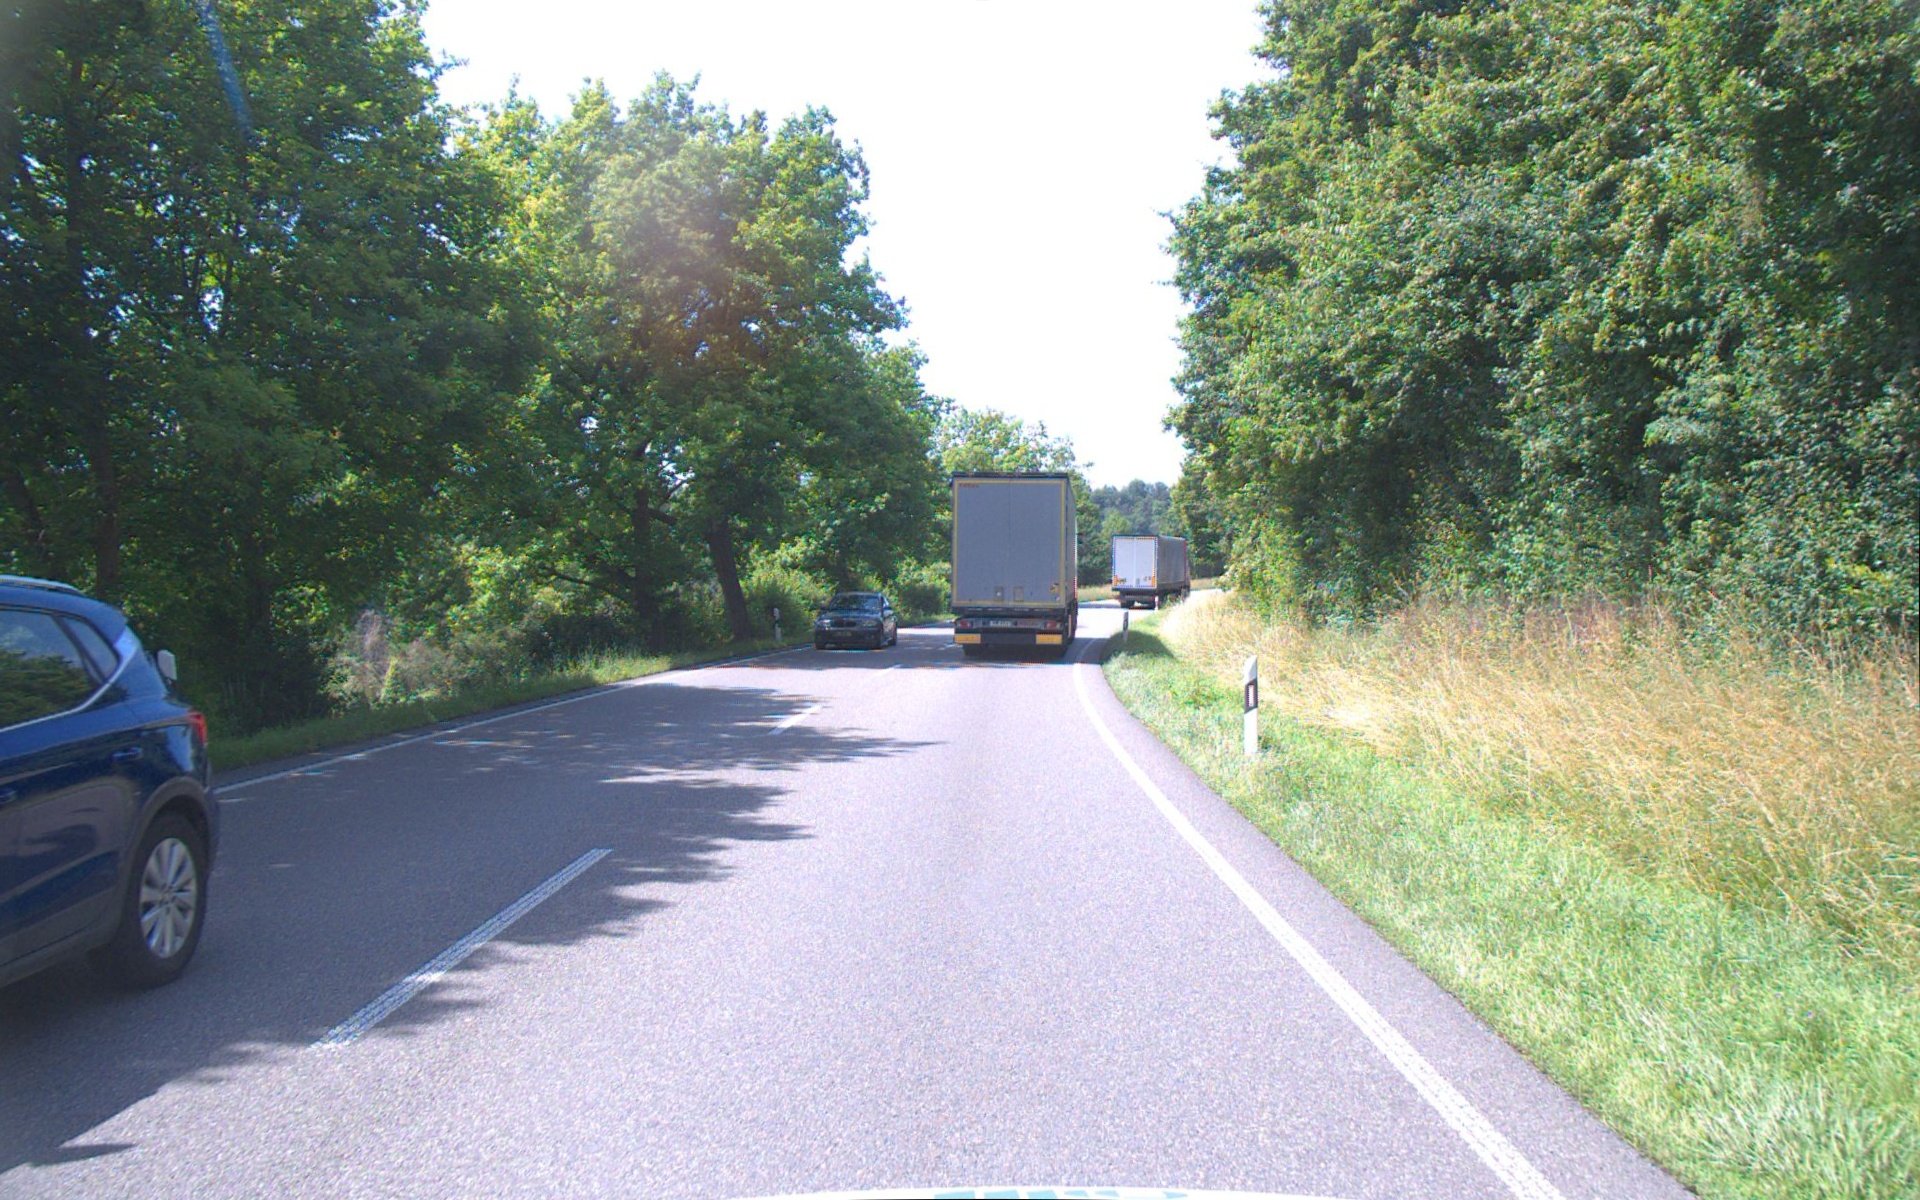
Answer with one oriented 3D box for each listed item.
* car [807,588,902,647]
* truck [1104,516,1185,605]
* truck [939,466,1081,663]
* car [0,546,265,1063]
[{"bbox_3d":[-2.655,0.417,42.667,1.721,1.457,4.273,0,0,7],"label":"car"},{"bbox_3d":[11.171,-2.321,98.474,3.038,4.787,16.605,0,1,12],"label":"truck"},{"bbox_3d":[1.622,-0.889,42.974,2.742,4.139,15.336,1,1,5],"label":"truck"},{"bbox_3d":[-3.712,0.624,4.906,1.636,1.558,3.957,-1,0,0],"label":"car"}]
